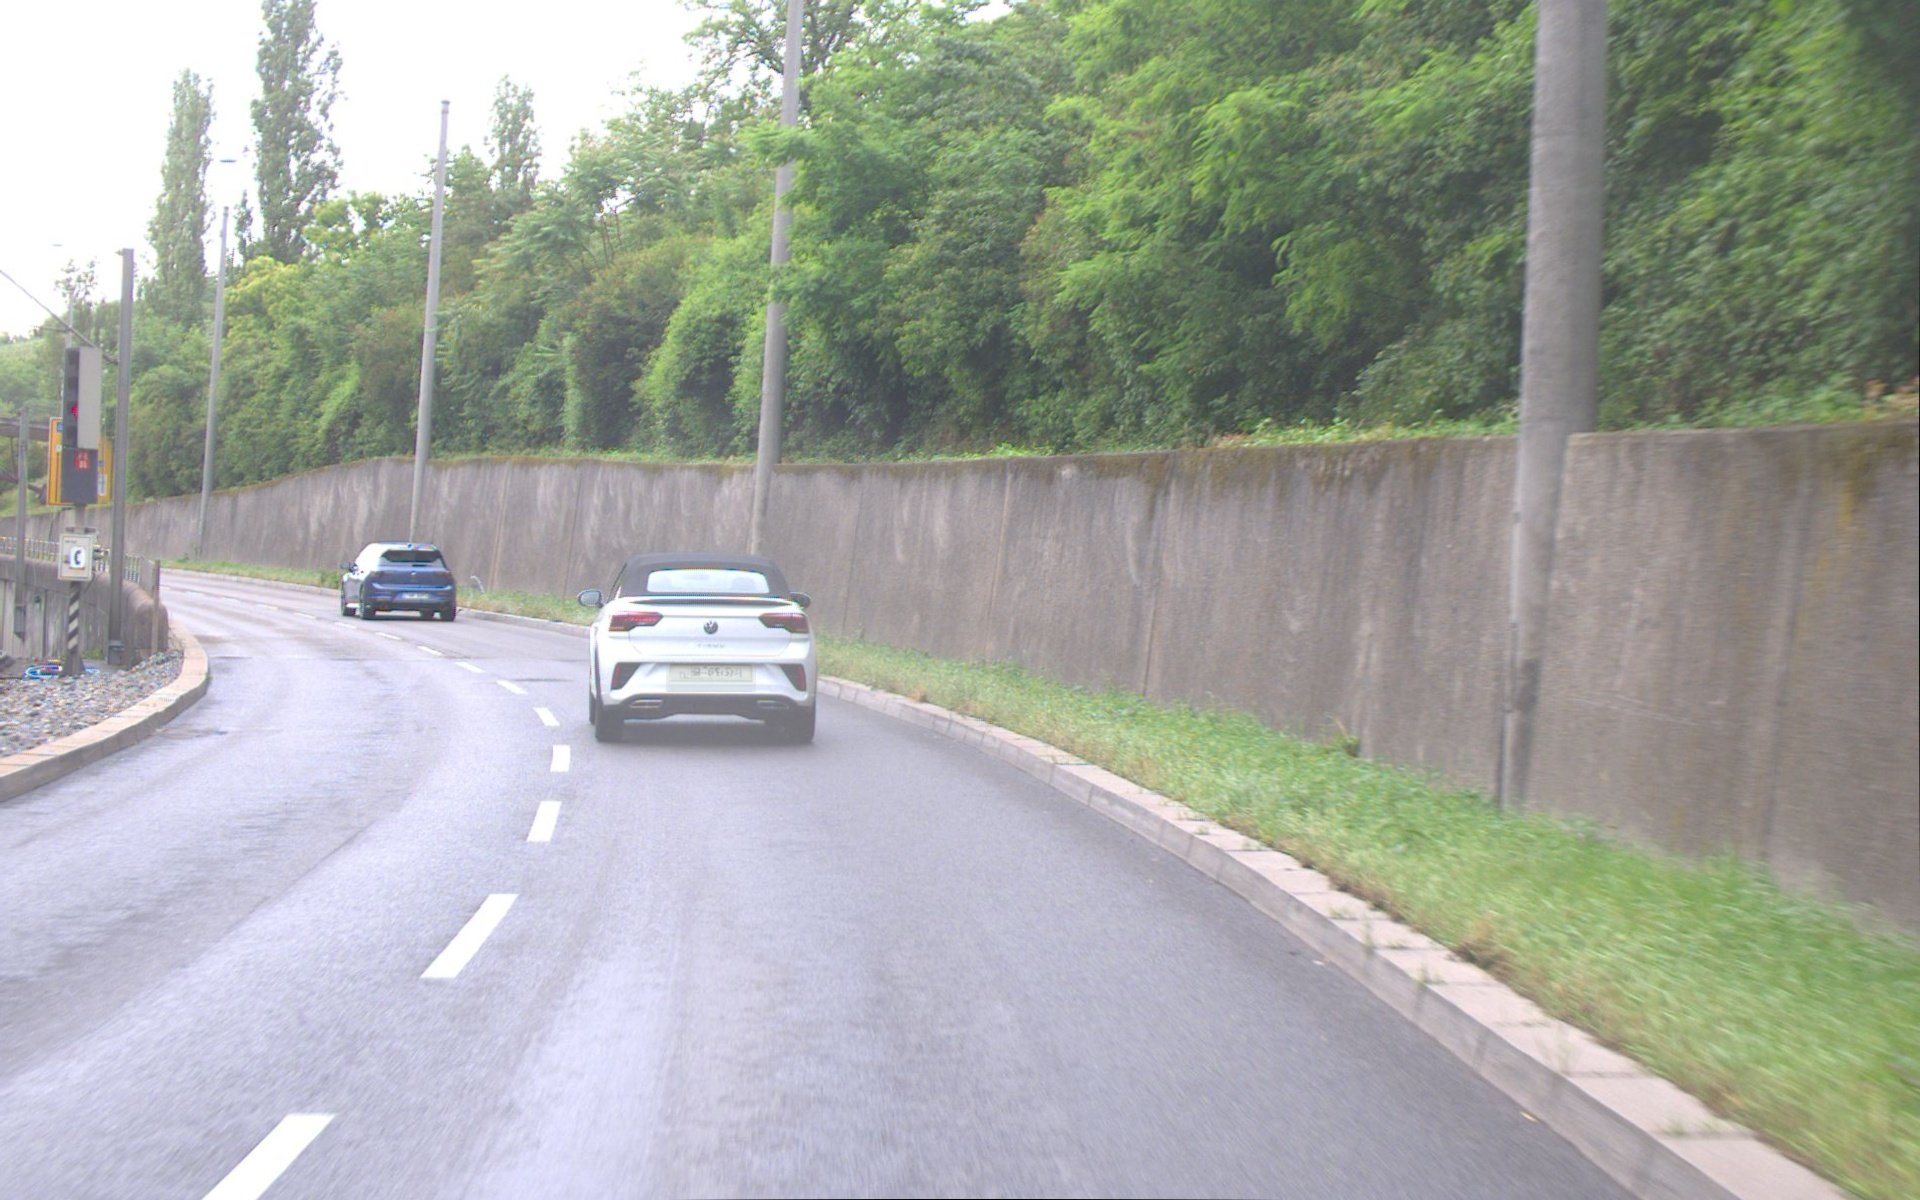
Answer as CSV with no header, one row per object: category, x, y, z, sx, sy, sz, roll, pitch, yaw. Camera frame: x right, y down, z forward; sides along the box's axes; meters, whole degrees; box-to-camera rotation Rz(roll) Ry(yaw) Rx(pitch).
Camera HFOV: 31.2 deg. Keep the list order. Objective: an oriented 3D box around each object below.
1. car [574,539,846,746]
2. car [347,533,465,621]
car,-2.183,0.301,28.959,1.995,1.573,4.127,1,1,-8
car,-10.620,-0.460,65.745,1.925,1.594,4.063,1,1,-13
